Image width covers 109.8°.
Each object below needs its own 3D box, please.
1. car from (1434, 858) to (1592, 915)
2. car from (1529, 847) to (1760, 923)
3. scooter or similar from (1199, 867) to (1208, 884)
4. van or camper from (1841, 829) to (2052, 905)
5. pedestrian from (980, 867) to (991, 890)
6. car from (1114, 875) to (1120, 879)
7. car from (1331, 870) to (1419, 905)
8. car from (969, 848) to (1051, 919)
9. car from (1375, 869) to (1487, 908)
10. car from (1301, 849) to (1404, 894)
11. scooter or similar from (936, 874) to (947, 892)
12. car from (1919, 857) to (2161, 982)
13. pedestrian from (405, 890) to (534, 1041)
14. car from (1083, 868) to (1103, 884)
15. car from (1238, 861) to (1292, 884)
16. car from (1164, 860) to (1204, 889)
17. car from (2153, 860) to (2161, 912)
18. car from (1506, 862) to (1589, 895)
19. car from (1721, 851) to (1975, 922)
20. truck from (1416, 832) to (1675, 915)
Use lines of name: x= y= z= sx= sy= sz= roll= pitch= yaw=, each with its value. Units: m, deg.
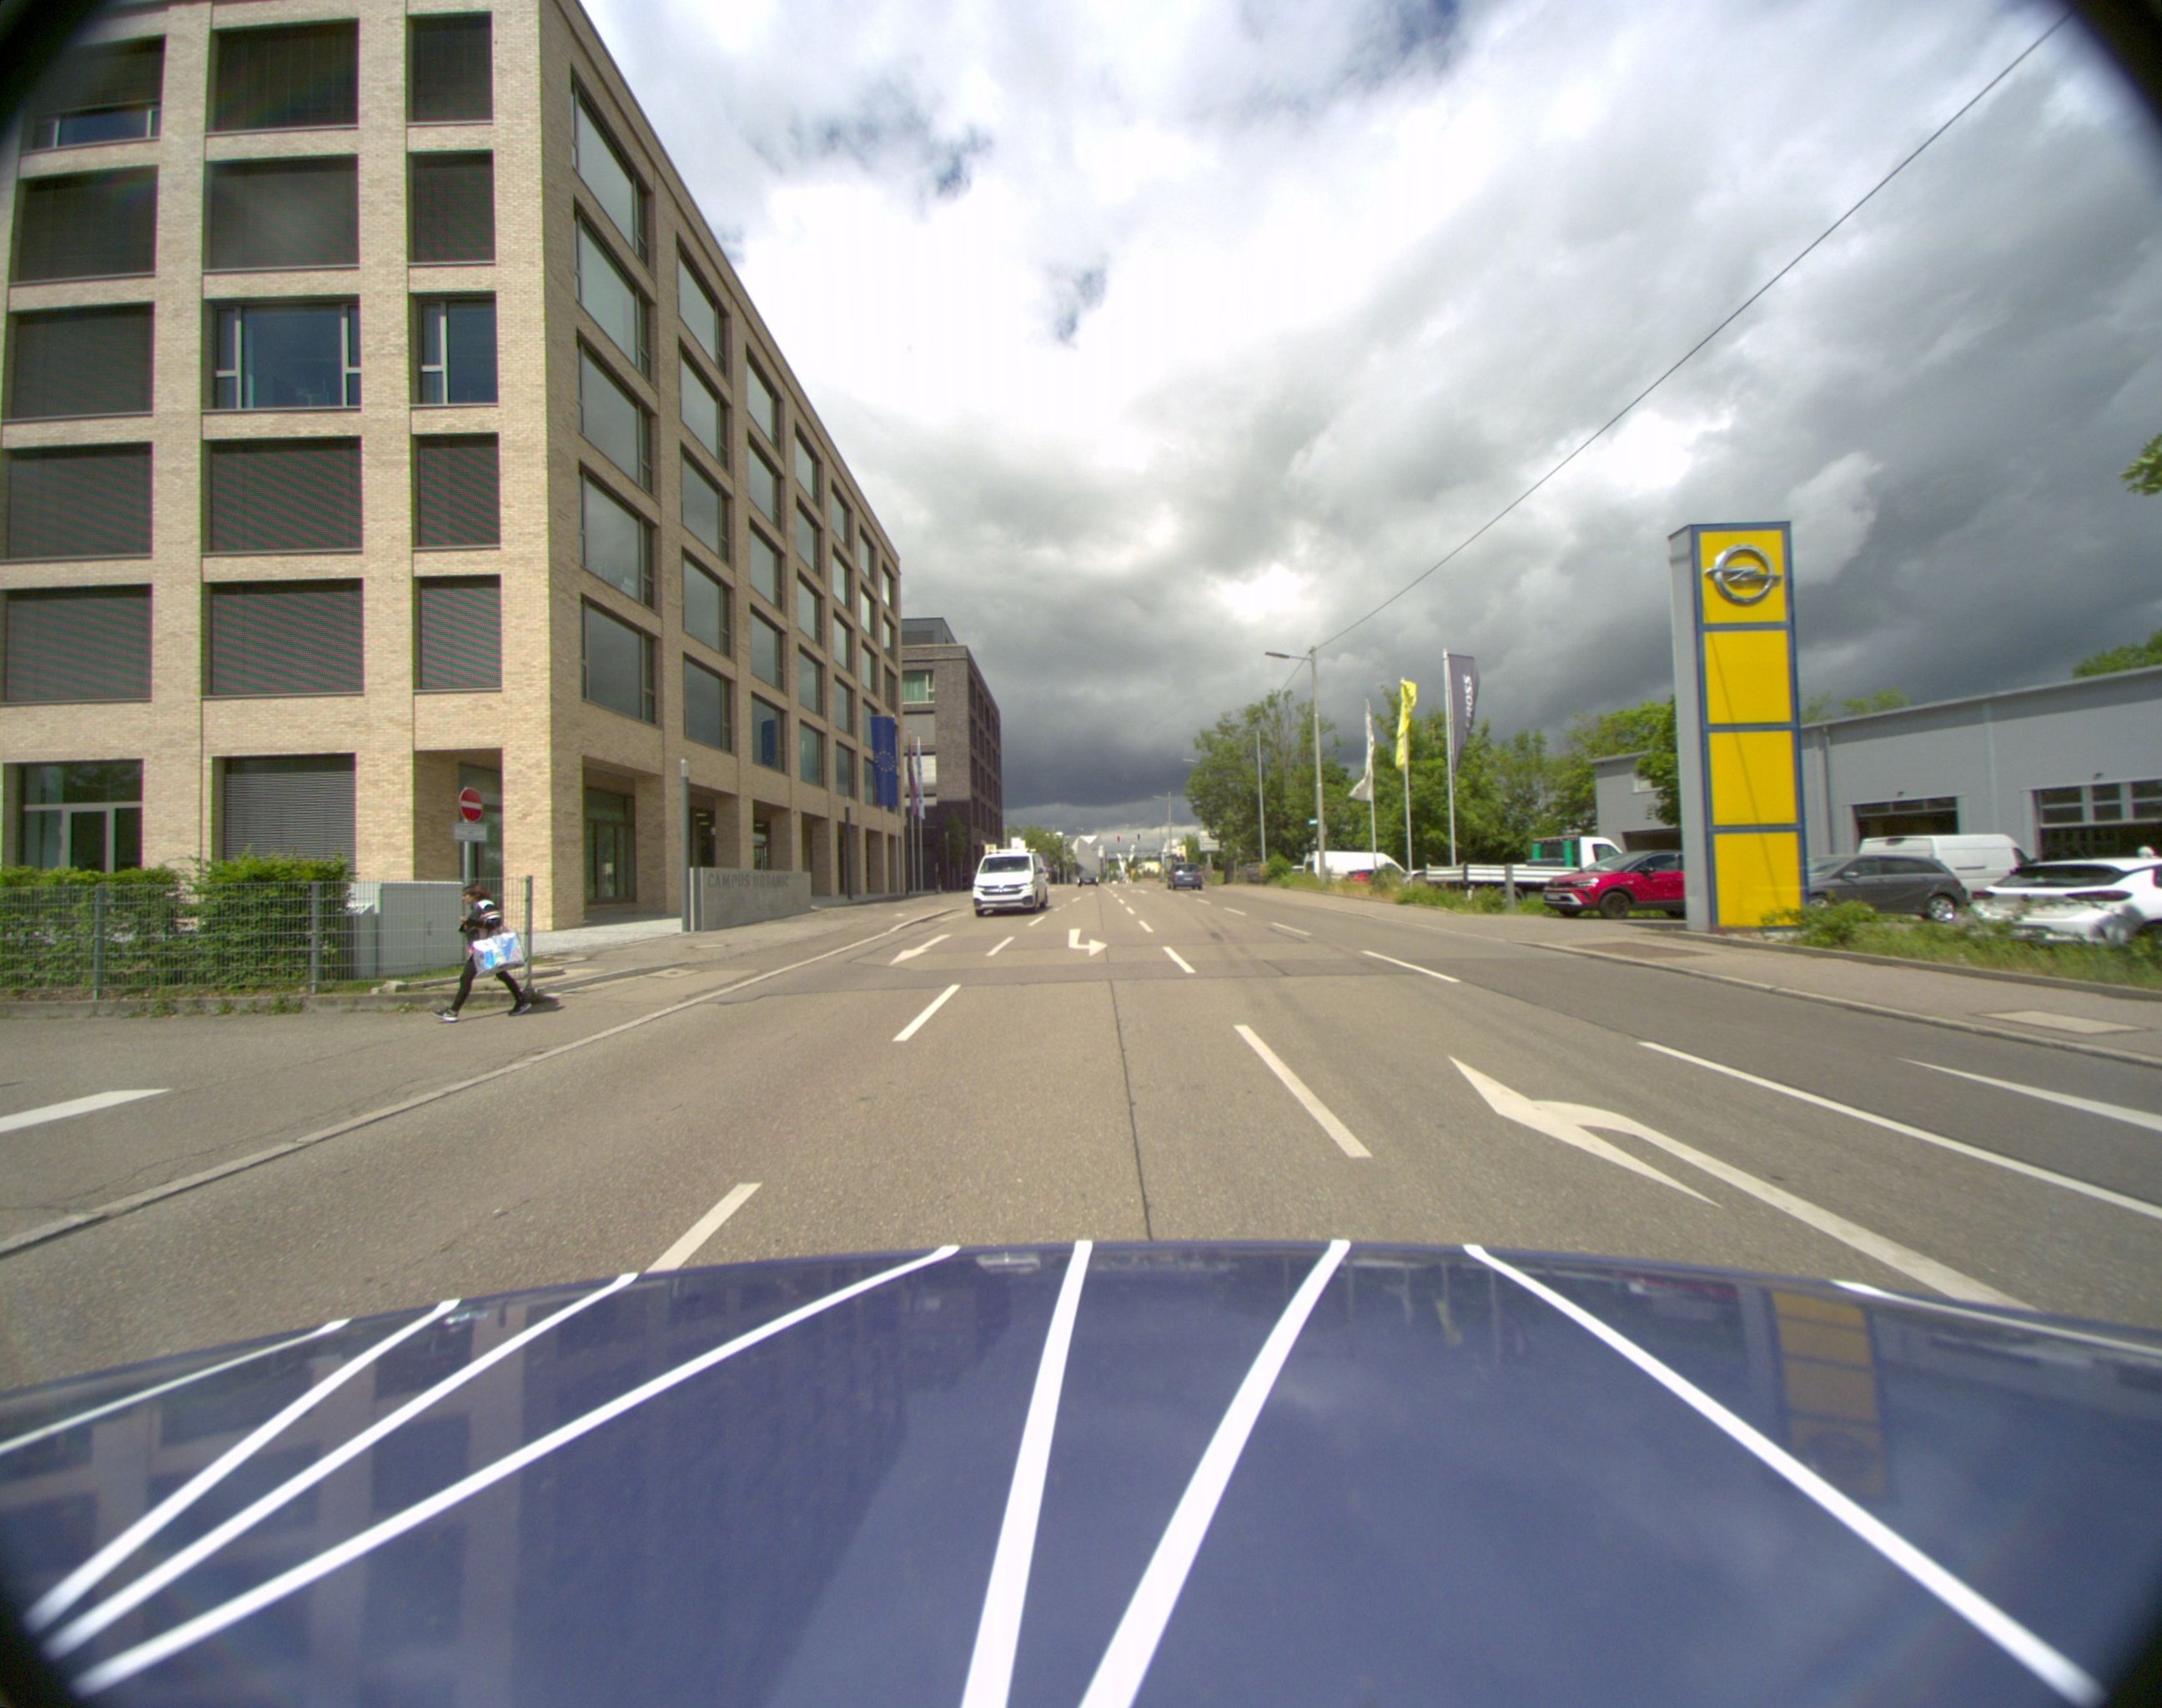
car: x=13.639 y=1.006 z=24.188 sx=3.895 sy=1.600 sz=1.928 roll=-2 pitch=0 yaw=1
car: x=12.861 y=0.712 z=17.536 sx=3.996 sy=1.579 sz=1.754 roll=1 pitch=-2 yaw=2
scooter or similar: x=9.455 y=1.691 z=58.732 sx=0.536 sy=1.258 sz=1.473 roll=-3 pitch=-2 yaw=6
van or camper: x=29.476 y=0.425 z=25.922 sx=5.905 sy=2.341 sz=2.500 roll=-1 pitch=-2 yaw=-17
pedestrian: x=-7.487 y=1.909 z=59.393 sx=0.685 sy=1.717 sz=0.962 roll=-2 pitch=-2 yaw=1
car: x=11.723 y=7.582 z=250.287 sx=1.801 sy=1.368 sz=4.226 roll=0 pitch=-2 yaw=1
car: x=13.257 y=1.511 z=34.445 sx=3.344 sy=1.401 sz=1.728 roll=-2 pitch=0 yaw=4
car: x=-2.162 y=0.871 z=24.414 sx=1.935 sy=2.078 sz=4.209 roll=-1 pitch=0 yaw=4
car: x=13.431 y=1.309 z=29.312 sx=3.553 sy=1.317 sz=1.711 roll=-2 pitch=0 yaw=4
car: x=13.197 y=0.866 z=37.187 sx=4.171 sy=2.001 sz=2.199 roll=-2 pitch=-2 yaw=-1
scooter or similar: x=-9.274 y=1.930 z=50.470 sx=0.428 sy=1.146 sz=1.404 roll=-1 pitch=-1 yaw=1
car: x=14.300 y=0.787 z=10.143 sx=3.997 sy=1.400 sz=2.000 roll=-2 pitch=0 yaw=0
pedestrian: x=-6.647 y=1.180 z=8.302 sx=0.689 sy=1.526 sz=0.856 roll=-1 pitch=-1 yaw=1
car: x=1.047 y=1.980 z=69.203 sx=1.726 sy=1.394 sz=4.207 roll=-1 pitch=0 yaw=0
car: x=16.989 y=1.722 z=70.248 sx=4.289 sy=2.001 sz=2.140 roll=-1 pitch=-1 yaw=-6
car: x=5.892 y=1.169 z=44.028 sx=1.748 sy=1.586 sz=4.042 roll=1 pitch=-1 yaw=0
car: x=32.092 y=0.782 z=20.871 sx=4.245 sy=1.400 sz=1.926 roll=-2 pitch=-2 yaw=-20
car: x=26.189 y=1.354 z=42.920 sx=1.841 sy=1.718 sz=4.918 roll=-1 pitch=-1 yaw=3
car: x=17.762 y=0.753 z=17.750 sx=4.089 sy=1.513 sz=1.827 roll=1 pitch=-2 yaw=0
truck: x=13.014 y=0.513 z=21.588 sx=5.877 sy=2.135 sz=2.476 roll=-1 pitch=0 yaw=-2
